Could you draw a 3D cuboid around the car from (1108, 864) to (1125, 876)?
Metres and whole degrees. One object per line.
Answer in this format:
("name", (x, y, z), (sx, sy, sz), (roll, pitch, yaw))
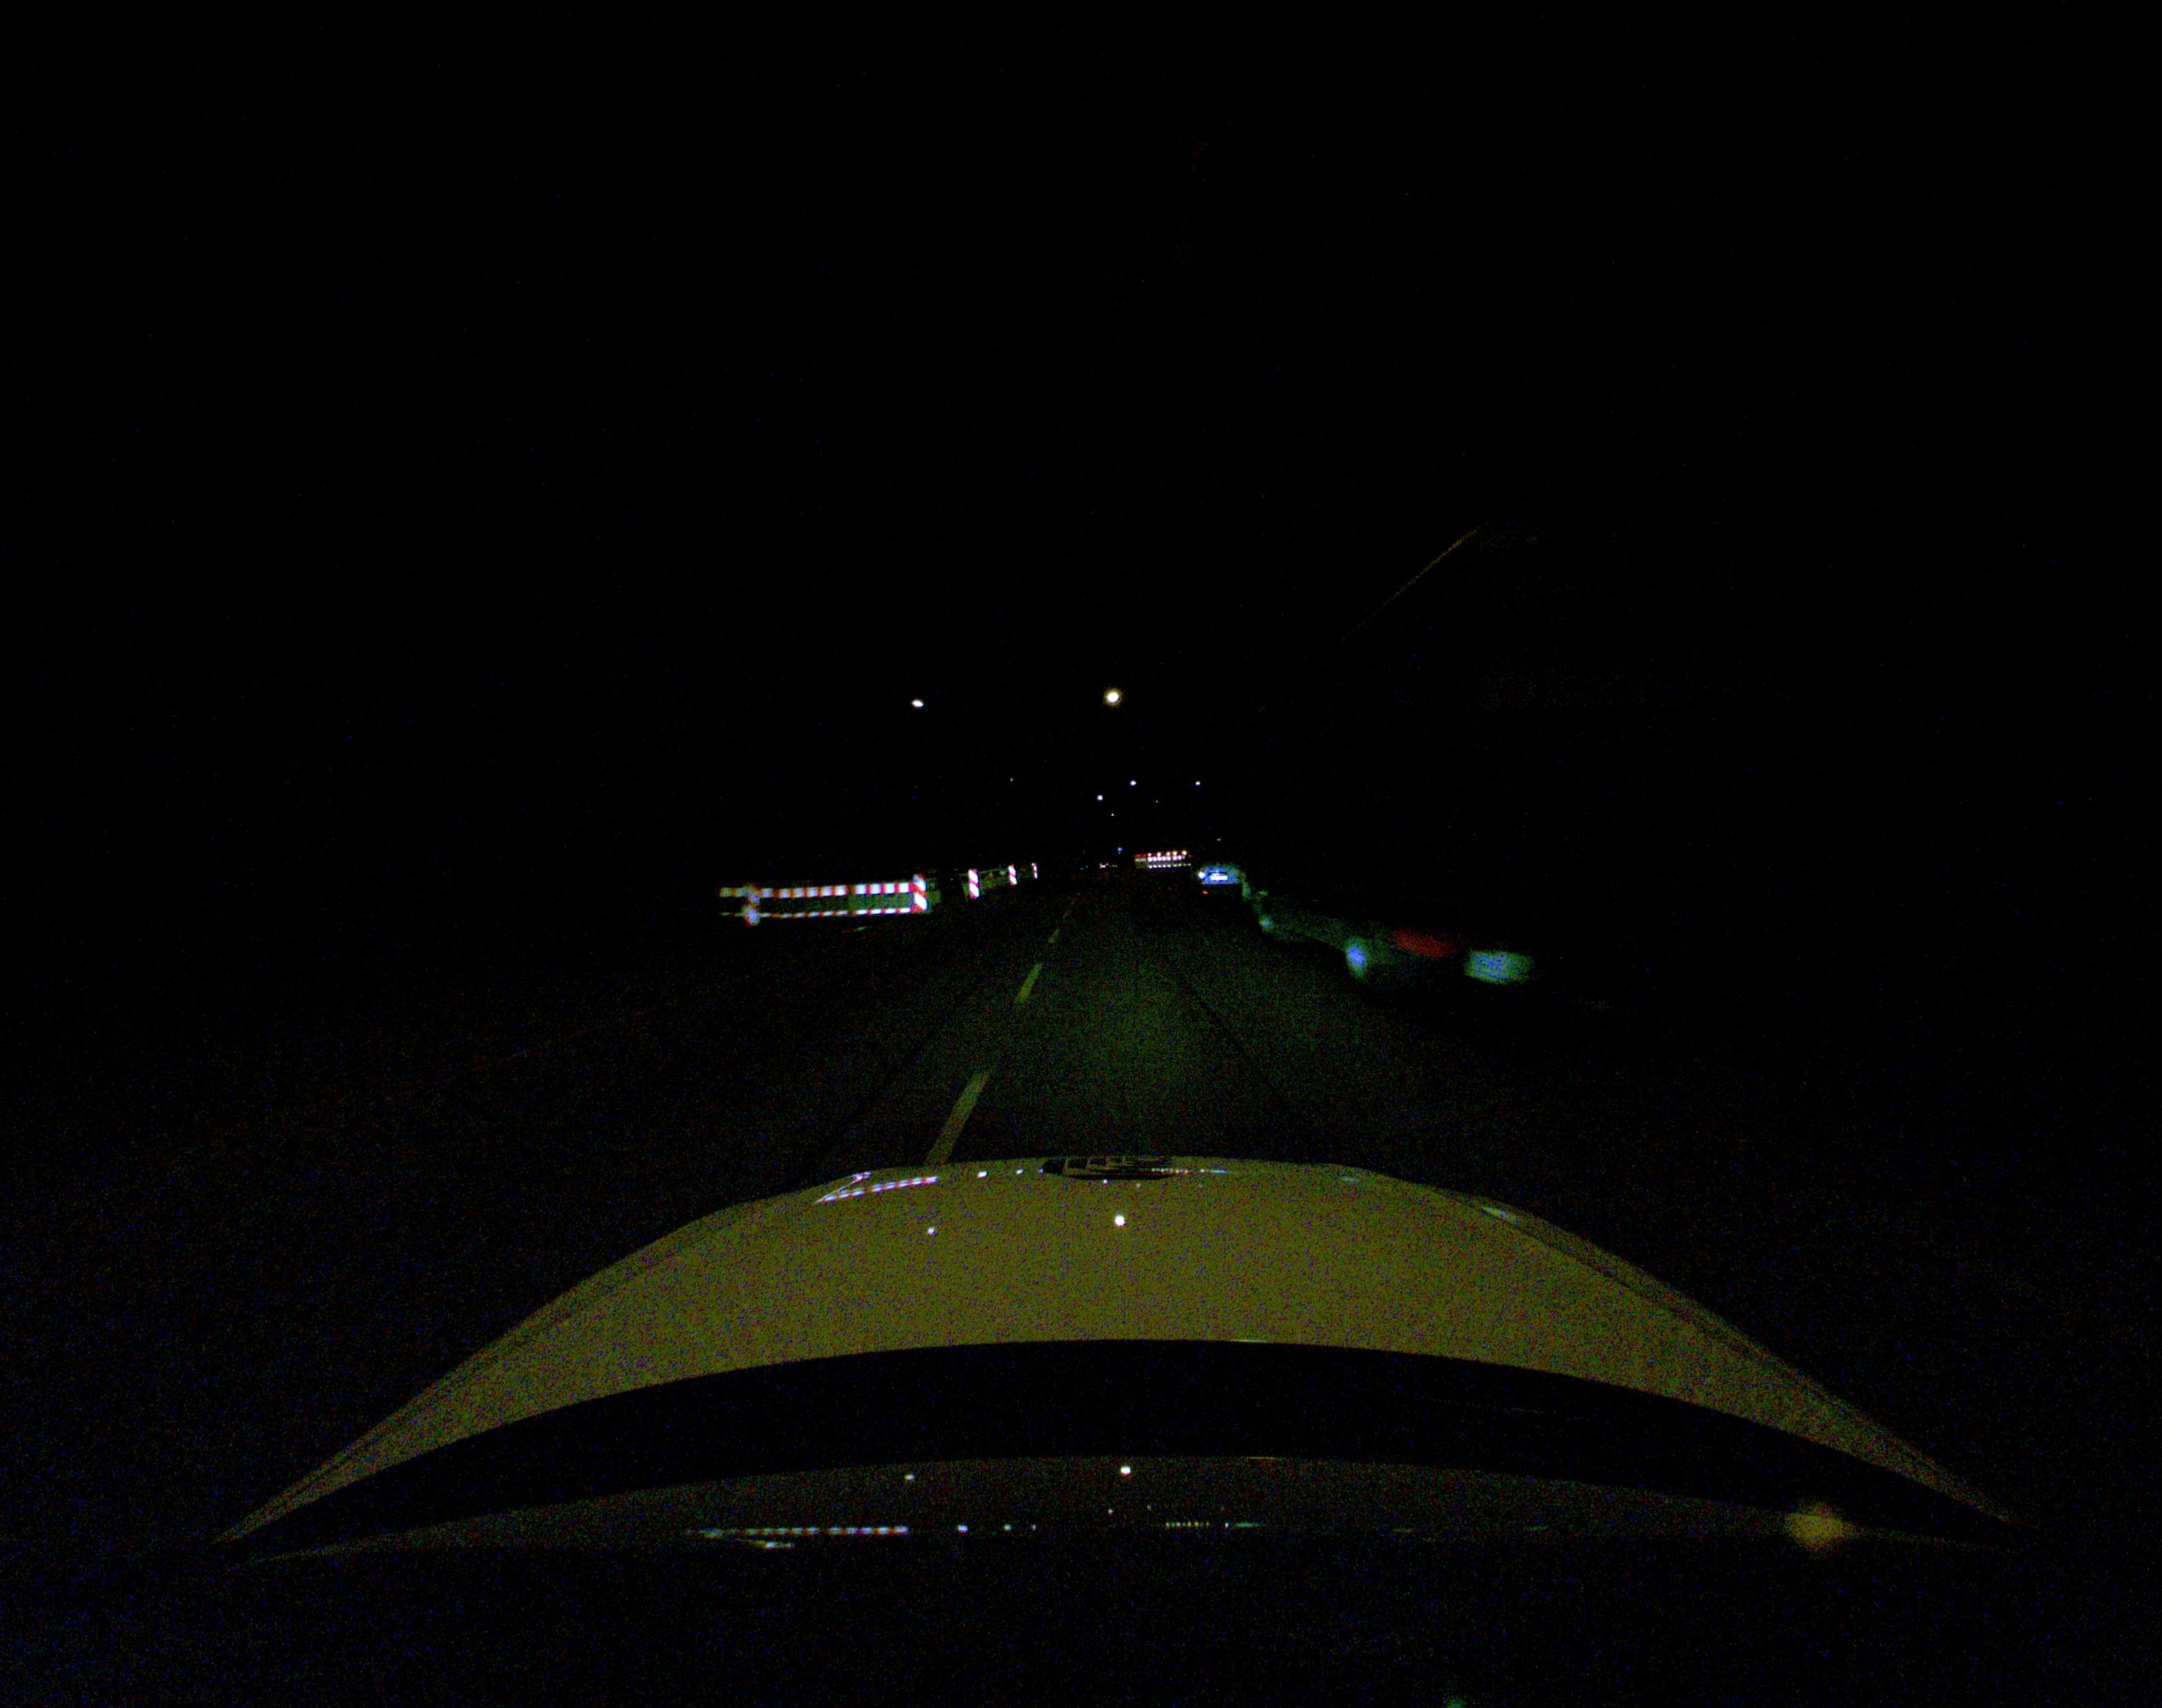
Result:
("car", (5.728, 2.581, 131.017), (1.707, 1.821, 4.017), (-2, -2, 16))

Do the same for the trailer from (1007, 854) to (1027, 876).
("trailer", (-7.868, 1.324, 100.431), (1.987, 2.527, 3.568), (-4, -1, 1))

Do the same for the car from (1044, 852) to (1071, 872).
("car", (-3.863, 1.336, 137.694), (2.500, 3.171, 7.165), (-4, -1, 15))

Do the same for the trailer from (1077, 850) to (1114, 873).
("trailer", (1.518, 0.858, 87.520), (1.568, 2.160, 5.175), (-3, -1, -26))

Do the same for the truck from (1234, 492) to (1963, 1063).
("truck", (4.424, -0.499, 10.267), (3.312, 3.868, 9.328), (-1, -1, 1))

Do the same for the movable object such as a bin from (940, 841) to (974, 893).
("movable object such as a bin", (-7.076, 0.733, 46.772), (1.568, 2.734, 3.693), (-5, 0, -6))

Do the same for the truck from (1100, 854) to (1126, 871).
("truck", (6.802, 1.734, 171.712), (1.975, 3.404, 9.031), (-1, 0, 25))

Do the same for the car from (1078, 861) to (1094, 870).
("car", (0.993, 2.244, 155.019), (1.978, 1.699, 4.224), (-2, -2, 16))

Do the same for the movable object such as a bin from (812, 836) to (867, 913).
("movable object such as a bin", (-8.379, 0.703, 28.147), (1.553, 2.467, 2.820), (-3, -1, -20))

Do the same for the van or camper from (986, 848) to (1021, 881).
("van or camper", (-7.987, 1.097, 84.631), (2.509, 3.094, 7.449), (-4, -1, 2))

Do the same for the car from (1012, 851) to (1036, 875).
("car", (-7.629, 1.259, 109.086), (2.511, 2.927, 7.199), (-4, -1, 0))

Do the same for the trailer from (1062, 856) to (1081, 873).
("trailer", (-1.739, 1.789, 144.117), (1.978, 2.813, 4.722), (-2, 0, 16))

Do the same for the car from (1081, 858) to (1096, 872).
("car", (0.994, 1.407, 102.493), (1.714, 1.661, 4.001), (-1, -2, 2))

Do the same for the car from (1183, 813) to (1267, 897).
("car", (4.748, 0.014, 27.819), (2.099, 2.516, 6.378), (-1, 0, 4))

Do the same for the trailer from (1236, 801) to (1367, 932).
("trailer", (4.720, 0.231, 18.178), (1.626, 2.473, 5.029), (-1, 0, 1))
